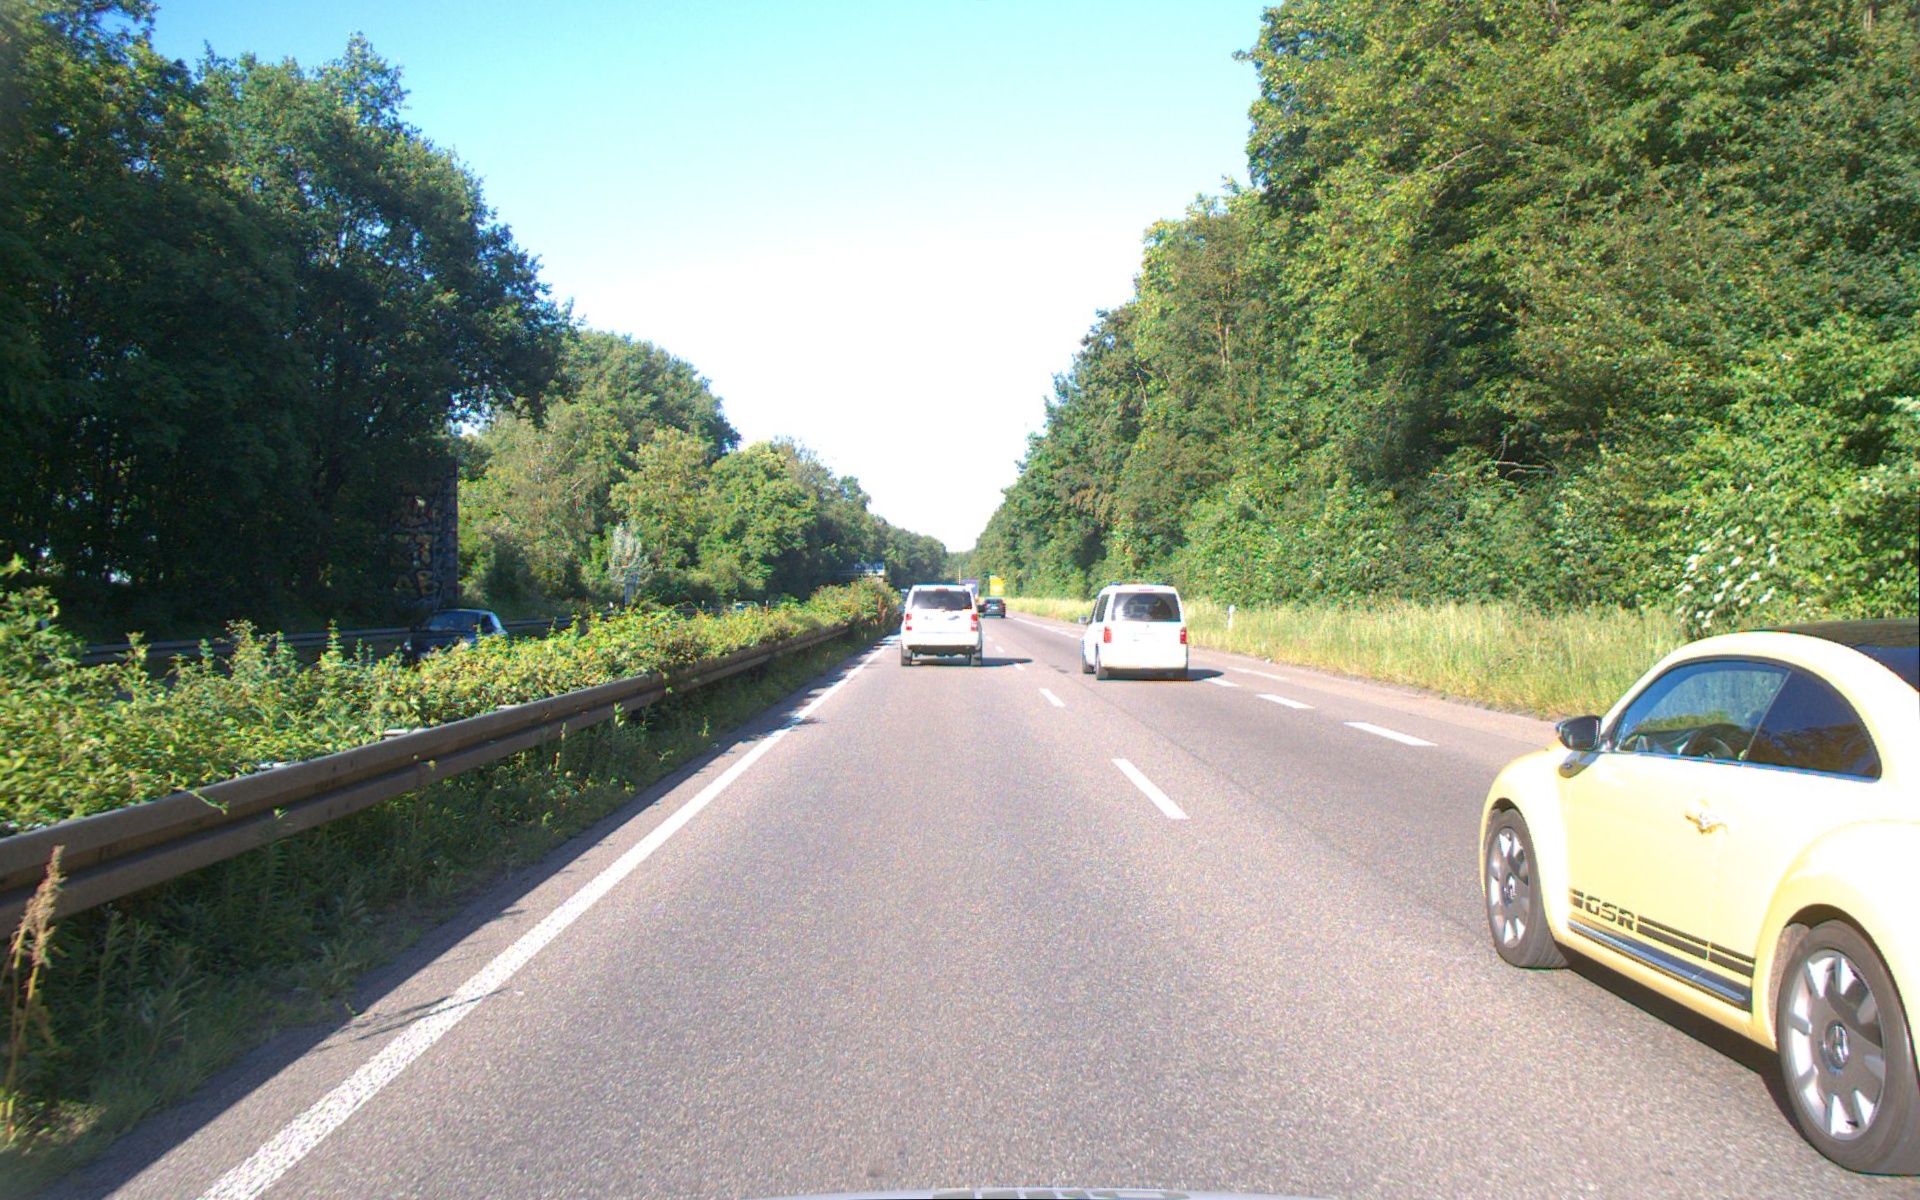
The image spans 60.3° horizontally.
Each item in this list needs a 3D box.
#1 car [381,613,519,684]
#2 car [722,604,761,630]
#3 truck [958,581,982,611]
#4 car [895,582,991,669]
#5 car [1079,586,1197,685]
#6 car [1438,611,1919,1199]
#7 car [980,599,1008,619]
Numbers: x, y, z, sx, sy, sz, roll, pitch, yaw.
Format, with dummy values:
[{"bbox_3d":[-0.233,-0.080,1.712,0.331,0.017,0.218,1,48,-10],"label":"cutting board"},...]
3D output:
[{"bbox_3d":[-11.610,1.065,37.947,1.921,1.475,4.324,1,0,-2],"label":"car"},{"bbox_3d":[-13.017,0.996,98.531,1.921,1.475,4.504,1,0,-3],"label":"car"},{"bbox_3d":[1.425,-0.616,242.700,3.425,4.246,8.860,-1,0,-1],"label":"truck"},{"bbox_3d":[-0.451,0.551,37.524,2.043,1.860,3.998,0,0,-3],"label":"car"},{"bbox_3d":[3.435,0.648,32.667,1.825,1.801,4.469,1,0,0],"label":"car"},{"bbox_3d":[3.310,0.803,5.881,1.842,1.487,4.354,0,0,-2],"label":"car"},{"bbox_3d":[2.503,0.664,123.958,1.953,1.422,3.999,1,0,-1],"label":"car"}]
